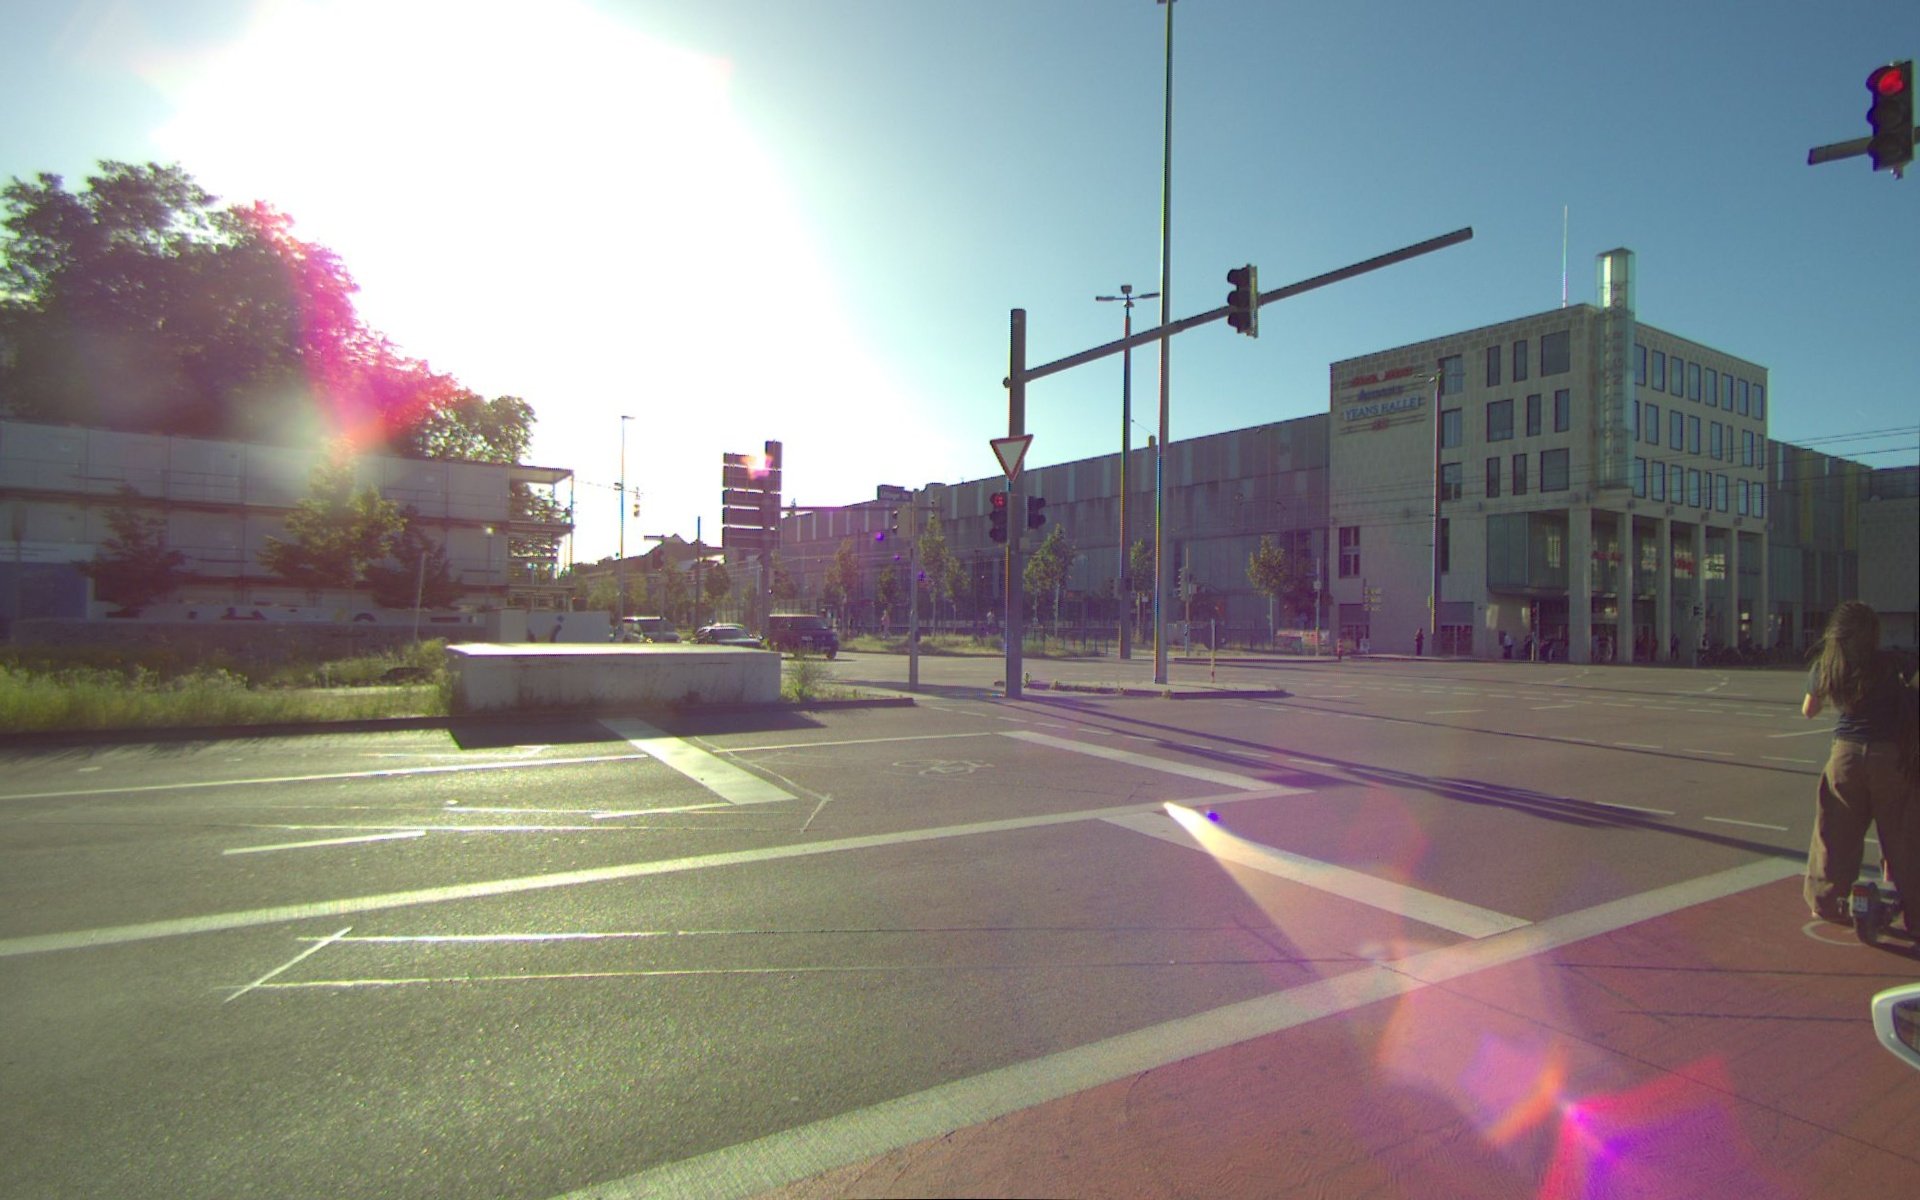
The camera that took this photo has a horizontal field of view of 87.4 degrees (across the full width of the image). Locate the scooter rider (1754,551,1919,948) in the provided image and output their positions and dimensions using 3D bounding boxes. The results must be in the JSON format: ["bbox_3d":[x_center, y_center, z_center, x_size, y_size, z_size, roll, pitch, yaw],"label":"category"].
[{"bbox_3d":[4.577,0.687,5.006,0.801,1.798,0.725,1,-1,-30],"label":"scooter rider"}]

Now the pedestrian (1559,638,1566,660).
[{"bbox_3d":[39.192,3.160,65.312,0.381,1.431,0.437,0,-1,32],"label":"pedestrian"}]

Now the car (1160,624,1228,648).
[{"bbox_3d":[16.340,2.478,70.341,1.981,1.628,4.436,1,-2,-36],"label":"car"}]

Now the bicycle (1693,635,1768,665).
[{"bbox_3d":[46.609,3.002,60.824,1.107,1.719,3.465,1,-2,-38],"label":"bicycle"}]

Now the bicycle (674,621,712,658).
[{"bbox_3d":[-15.071,2.214,56.674,1.007,2.040,3.472,1,-2,-33],"label":"bicycle"}]

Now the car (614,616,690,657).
[{"bbox_3d":[-14.828,1.700,48.148,1.981,1.849,4.821,1,-2,-36],"label":"car"}]

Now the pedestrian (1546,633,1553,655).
[{"bbox_3d":[38.333,2.867,65.338,0.381,1.445,0.501,0,-1,35],"label":"pedestrian"}]

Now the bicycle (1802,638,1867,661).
[{"bbox_3d":[63.708,3.583,73.206,0.979,1.547,3.462,2,-2,-40],"label":"bicycle"}]

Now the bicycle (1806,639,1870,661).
[{"bbox_3d":[64.508,3.639,73.855,0.979,1.547,3.462,2,-2,-40],"label":"bicycle"}]

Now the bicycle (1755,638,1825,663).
[{"bbox_3d":[55.259,3.323,66.924,0.979,1.547,3.462,2,-2,-40],"label":"bicycle"}]

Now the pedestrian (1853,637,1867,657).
[{"bbox_3d":[73.386,3.821,81.914,0.688,1.664,0.692,1,-1,-37],"label":"pedestrian"}]

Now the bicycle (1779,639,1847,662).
[{"bbox_3d":[58.877,3.473,69.393,0.979,1.547,3.462,2,-2,-40],"label":"bicycle"}]

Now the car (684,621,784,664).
[{"bbox_3d":[-9.395,1.701,41.515,2.313,1.671,4.821,1,-2,-37],"label":"car"}]

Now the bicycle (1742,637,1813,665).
[{"bbox_3d":[52.862,3.253,64.966,0.979,1.719,3.462,1,-2,-40],"label":"bicycle"}]

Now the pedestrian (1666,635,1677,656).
[{"bbox_3d":[50.483,3.230,71.251,0.630,1.454,0.474,0,-1,38],"label":"pedestrian"}]

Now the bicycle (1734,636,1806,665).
[{"bbox_3d":[51.122,3.184,63.427,0.979,1.719,3.462,1,-2,-40],"label":"bicycle"}]

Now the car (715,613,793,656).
[{"bbox_3d":[-10.387,1.691,50.421,1.981,2.040,4.821,1,-2,-36],"label":"car"}]

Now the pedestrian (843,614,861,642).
[{"bbox_3d":[-7.069,1.822,65.761,0.889,1.855,0.787,1,-1,-35],"label":"pedestrian"}]

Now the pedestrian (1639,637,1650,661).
[{"bbox_3d":[44.955,3.210,65.970,0.508,1.530,0.479,1,-1,-34],"label":"pedestrian"}]

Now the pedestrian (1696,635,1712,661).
[{"bbox_3d":[49.283,3.187,66.556,0.773,1.664,0.693,0,-1,32],"label":"pedestrian"}]

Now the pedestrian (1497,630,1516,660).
[{"bbox_3d":[32.984,2.699,60.616,0.729,1.822,0.752,1,-1,-34],"label":"pedestrian"}]

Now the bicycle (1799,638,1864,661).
[{"bbox_3d":[62.669,3.517,72.256,0.979,1.547,3.462,2,-2,-40],"label":"bicycle"}]

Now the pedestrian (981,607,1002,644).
[{"bbox_3d":[1.588,1.278,50.597,0.788,1.855,0.706,1,-1,-37],"label":"pedestrian"}]

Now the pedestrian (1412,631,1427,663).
[{"bbox_3d":[24.456,2.486,53.479,0.543,1.716,0.521,1,-1,-40],"label":"pedestrian"}]

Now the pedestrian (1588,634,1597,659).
[{"bbox_3d":[41.674,3.058,66.183,0.363,1.606,0.384,1,-1,-34],"label":"pedestrian"}]

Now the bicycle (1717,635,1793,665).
[{"bbox_3d":[48.218,3.007,60.942,1.107,1.719,3.465,1,-2,-38],"label":"bicycle"}]

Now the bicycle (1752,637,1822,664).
[{"bbox_3d":[54.508,3.314,66.256,0.979,1.719,3.462,1,-2,-40],"label":"bicycle"}]

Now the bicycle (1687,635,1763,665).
[{"bbox_3d":[45.702,2.971,60.036,1.107,1.719,3.465,1,-2,-38],"label":"bicycle"}]

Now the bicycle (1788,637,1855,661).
[{"bbox_3d":[60.384,3.427,70.474,0.979,1.547,3.462,2,-2,-40],"label":"bicycle"}]

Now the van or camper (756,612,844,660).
[{"bbox_3d":[-7.329,1.590,45.649,1.981,2.040,4.821,1,-2,-36],"label":"van or camper"}]

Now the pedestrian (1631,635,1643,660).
[{"bbox_3d":[44.326,3.117,65.784,0.508,1.606,0.479,1,-1,-34],"label":"pedestrian"}]

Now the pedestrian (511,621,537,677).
[{"bbox_3d":[-13.313,1.495,30.647,0.619,1.674,0.935,1,-1,-30],"label":"pedestrian"}]

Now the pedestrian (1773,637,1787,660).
[{"bbox_3d":[59.255,3.496,72.550,0.689,1.664,0.648,1,-1,-38],"label":"pedestrian"}]

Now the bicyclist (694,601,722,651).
[{"bbox_3d":[-13.935,1.440,55.457,1.007,2.677,1.610,1,-1,-34],"label":"bicyclist"}]

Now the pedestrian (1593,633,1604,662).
[{"bbox_3d":[37.711,2.814,59.344,0.533,1.664,0.549,0,-1,35],"label":"pedestrian"}]

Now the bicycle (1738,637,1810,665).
[{"bbox_3d":[51.948,3.221,64.162,0.979,1.719,3.462,1,-2,-40],"label":"bicycle"}]

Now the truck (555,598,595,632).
[{"bbox_3d":[-33.476,1.321,87.253,1.979,2.875,6.293,1,-2,-33],"label":"truck"}]

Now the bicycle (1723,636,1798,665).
[{"bbox_3d":[49.147,3.074,61.742,1.107,1.719,3.465,1,-2,-38],"label":"bicycle"}]

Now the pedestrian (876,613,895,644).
[{"bbox_3d":[-4.426,1.684,59.690,0.889,1.855,0.787,1,-1,-35],"label":"pedestrian"}]

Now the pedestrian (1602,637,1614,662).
[{"bbox_3d":[41.968,3.202,65.085,0.592,1.606,0.479,1,-1,-34],"label":"pedestrian"}]

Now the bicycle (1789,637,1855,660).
[{"bbox_3d":[61.191,3.444,71.306,0.979,1.547,3.462,2,-2,-40],"label":"bicycle"}]

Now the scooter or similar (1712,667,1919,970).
[{"bbox_3d":[4.547,0.972,4.983,1.645,1.218,0.725,1,-1,-30],"label":"scooter or similar"}]

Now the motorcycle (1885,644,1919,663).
[{"bbox_3d":[70.749,4.010,75.088,0.713,1.335,2.260,1,-2,-34],"label":"motorcycle"}]
